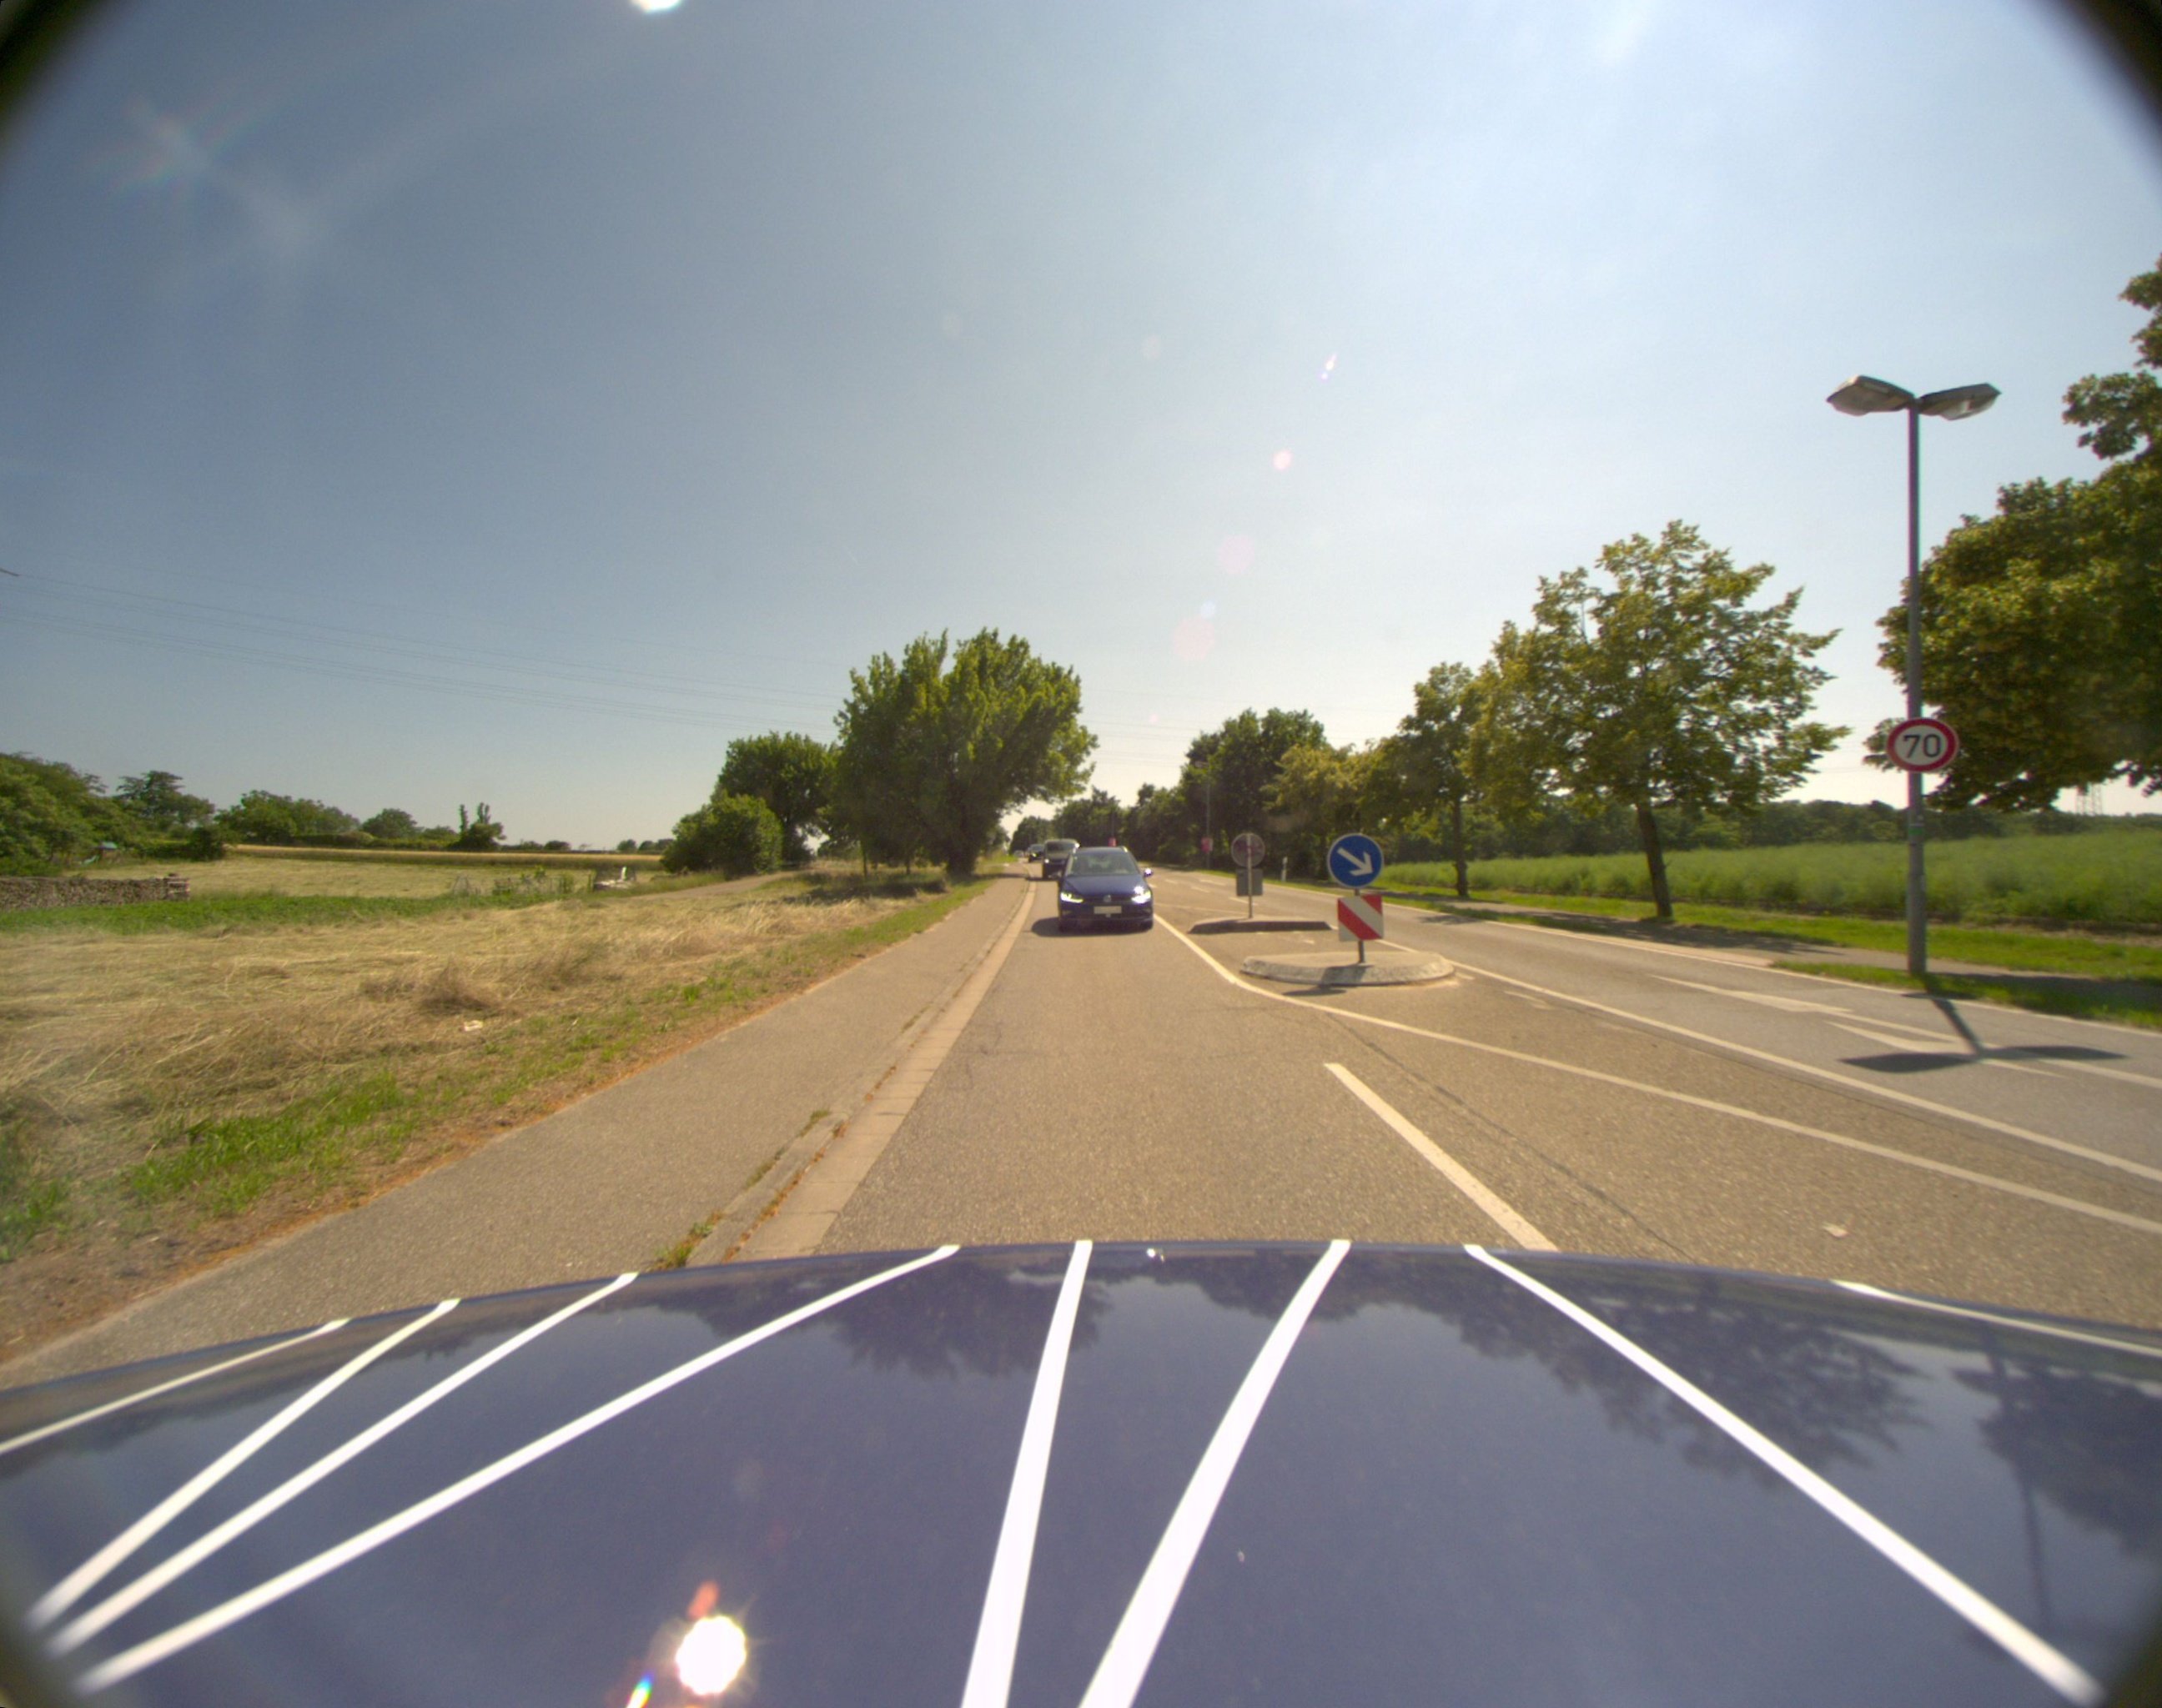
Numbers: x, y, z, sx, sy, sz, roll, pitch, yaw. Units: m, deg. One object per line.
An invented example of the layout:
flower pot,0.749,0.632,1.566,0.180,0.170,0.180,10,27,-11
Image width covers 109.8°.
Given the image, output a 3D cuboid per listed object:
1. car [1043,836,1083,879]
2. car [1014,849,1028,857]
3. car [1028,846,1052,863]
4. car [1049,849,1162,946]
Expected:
car,-0.961,0.150,38.094,1.765,1.954,4.259,-2,1,-4
car,-11.451,-0.133,144.646,1.656,1.425,3.890,0,0,-20
car,-3.808,0.022,69.704,1.766,1.530,3.681,-1,0,-10
car,0.320,0.705,14.821,1.765,1.520,4.420,-2,1,-3
